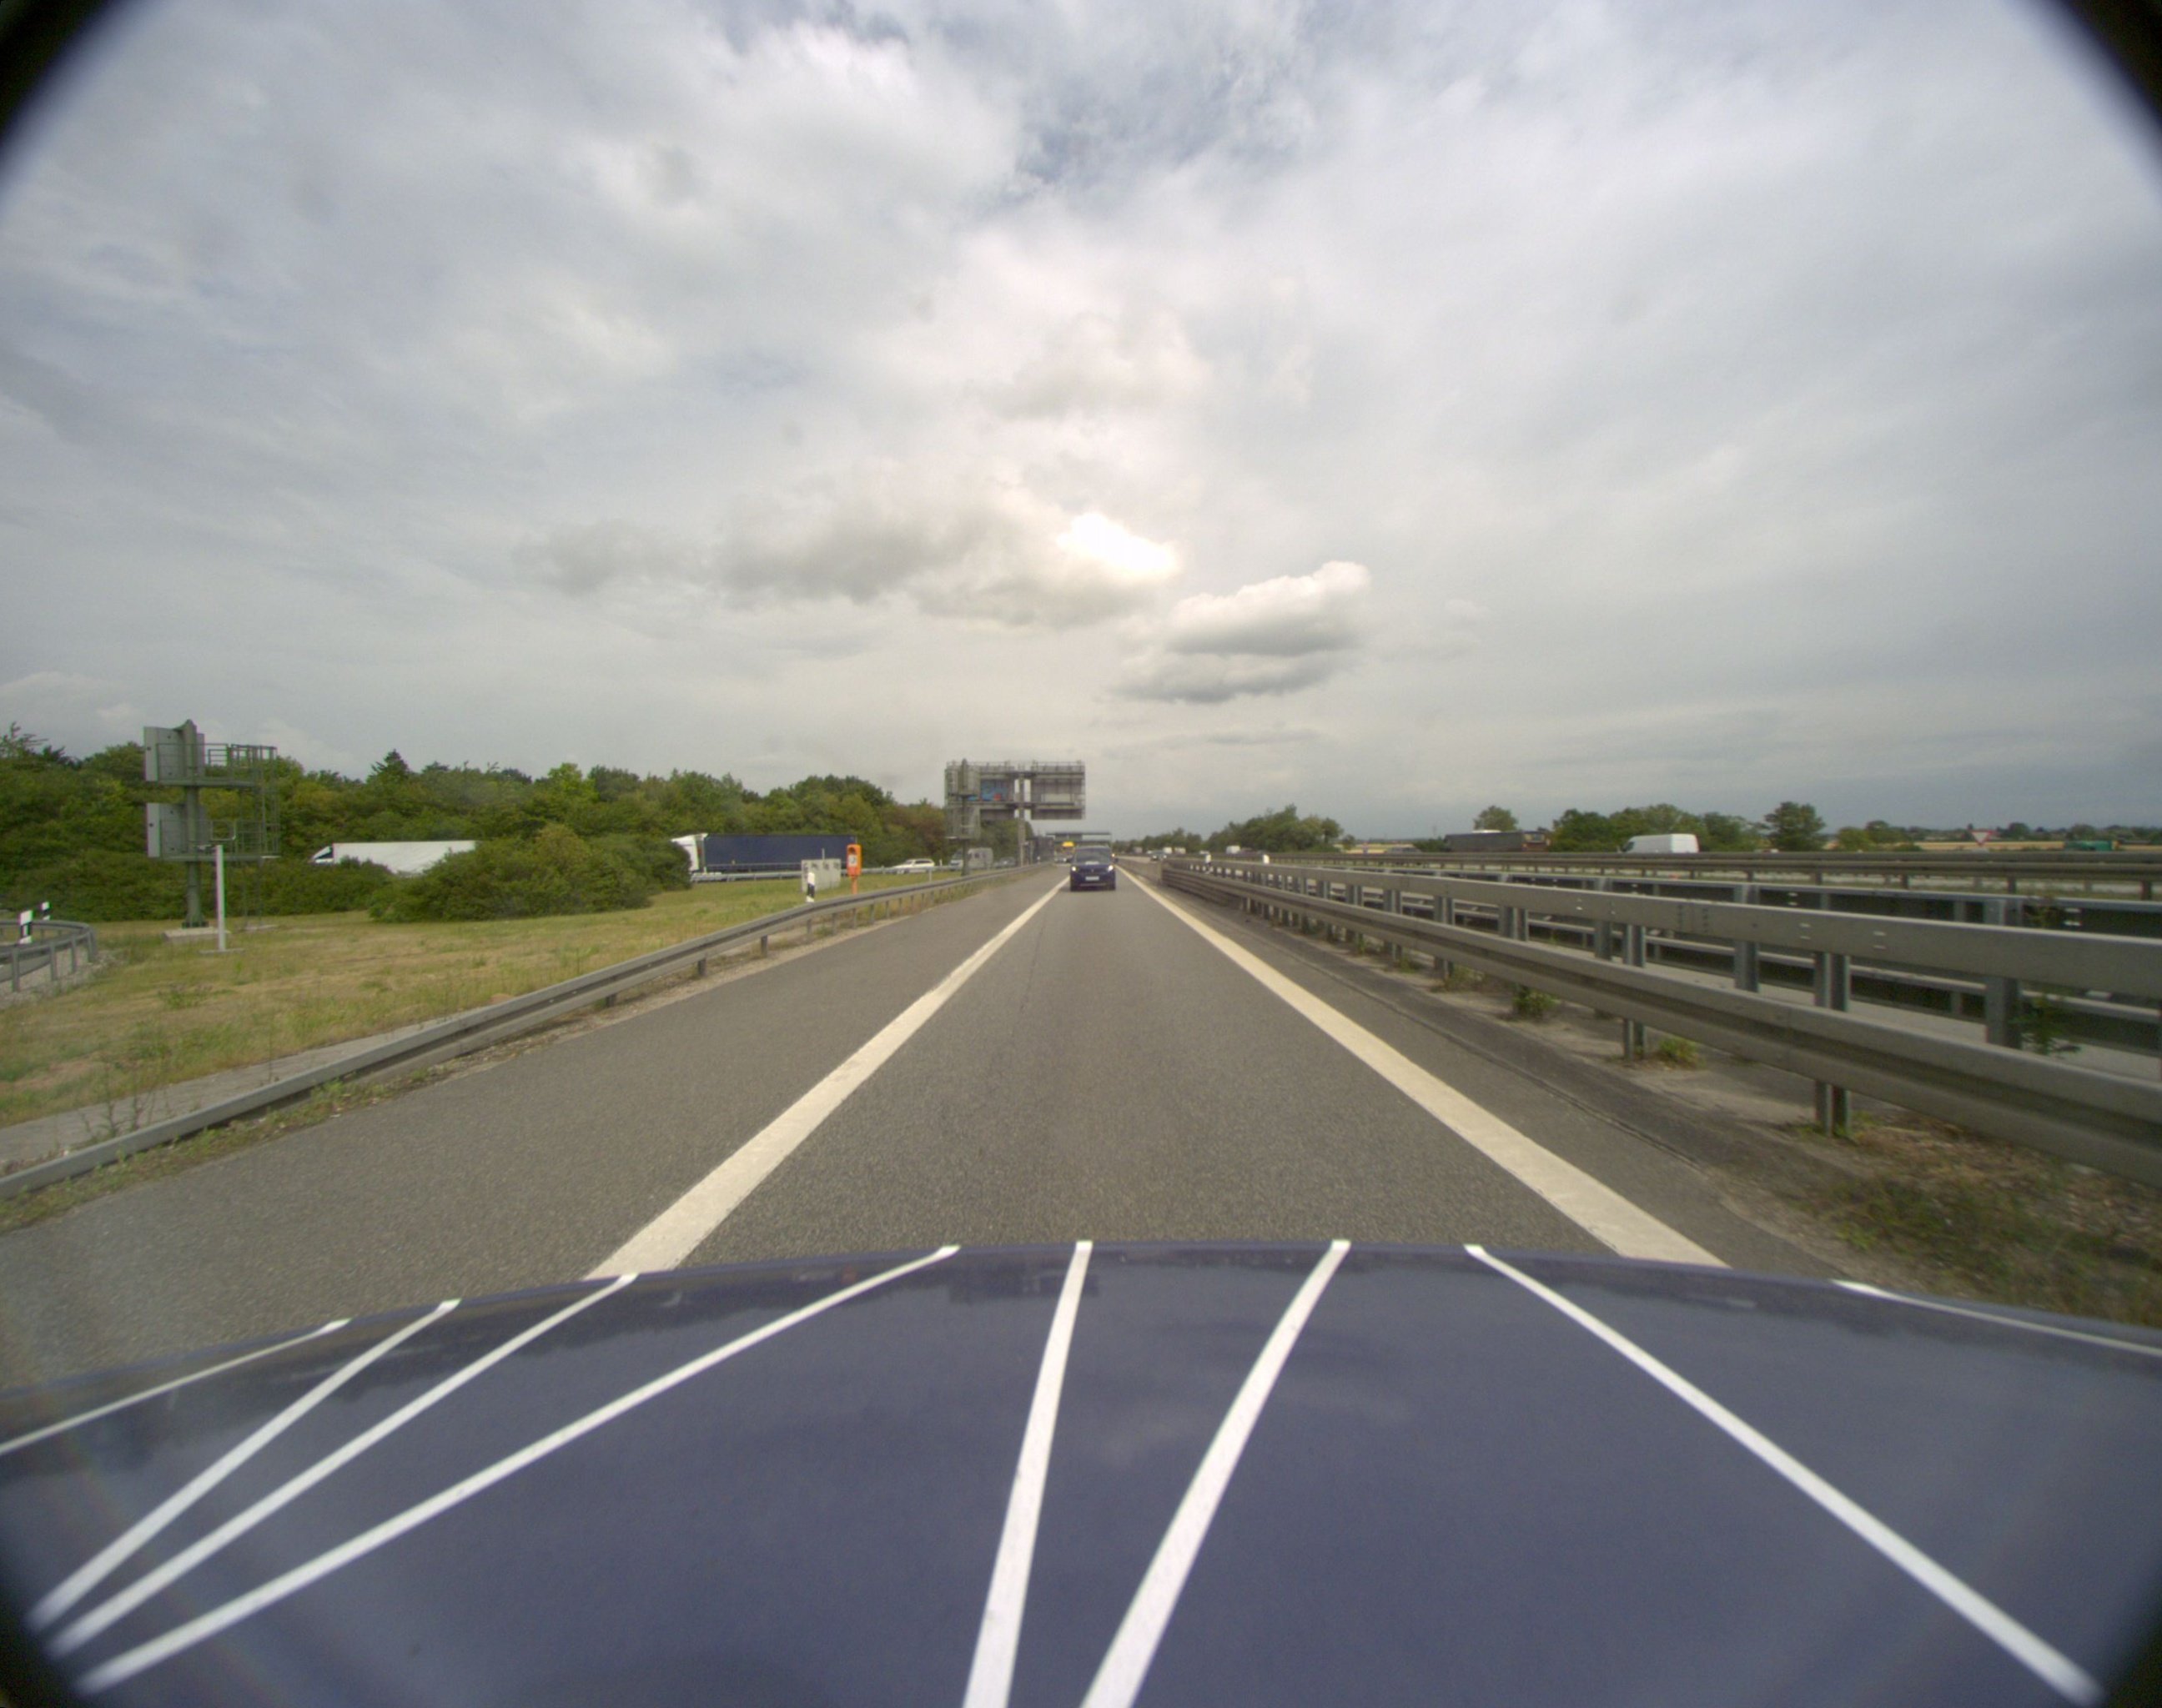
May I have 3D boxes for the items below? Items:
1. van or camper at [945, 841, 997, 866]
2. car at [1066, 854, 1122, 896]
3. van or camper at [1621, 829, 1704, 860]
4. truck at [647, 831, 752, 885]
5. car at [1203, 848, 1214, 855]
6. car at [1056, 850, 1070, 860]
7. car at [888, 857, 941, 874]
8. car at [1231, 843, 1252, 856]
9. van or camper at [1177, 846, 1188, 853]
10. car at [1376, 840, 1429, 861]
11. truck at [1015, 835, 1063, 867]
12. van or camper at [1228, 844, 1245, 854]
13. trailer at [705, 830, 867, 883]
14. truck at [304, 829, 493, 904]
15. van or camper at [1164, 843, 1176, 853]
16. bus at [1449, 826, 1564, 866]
[{"bbox_3d":[-11.820,-0.064,82.496,2.295,2.553,6.171,-1,1,28],"label":"van or camper"},{"bbox_3d":[0.434,0.757,29.453,1.866,1.434,3.999,-2,0,-2],"label":"car"},{"bbox_3d":[41.074,-0.675,53.866,1.999,2.002,4.882,-2,1,-2],"label":"van or camper"},{"bbox_3d":[-31.026,0.299,61.974,3.361,4.071,6.802,-1,1,44],"label":"truck"},{"bbox_3d":[26.108,-0.500,155.324,1.527,1.455,4.000,-2,1,1],"label":"car"},{"bbox_3d":[-2.737,0.197,114.806,1.866,1.434,3.999,-2,0,-2],"label":"car"},{"bbox_3d":[-16.441,1.088,75.241,2.207,1.492,4.796,-1,1,37],"label":"car"},{"bbox_3d":[22.548,-0.602,106.756,1.999,1.652,3.999,-2,1,-2],"label":"car"},{"bbox_3d":[31.814,-1.312,237.482,2.241,2.002,6.275,-2,0,-4],"label":"van or camper"},{"bbox_3d":[23.683,-0.257,56.189,1.999,1.460,4.139,-2,1,-2],"label":"car"},{"bbox_3d":[-5.434,-0.401,100.849,3.021,3.931,10.351,-2,1,16],"label":"truck"},{"bbox_3d":[34.578,-1.049,169.022,2.193,2.159,5.807,-2,0,-3],"label":"van or camper"},{"bbox_3d":[-25.782,0.124,67.348,3.332,4.169,13.057,-1,1,45],"label":"trailer"},{"bbox_3d":[-46.757,0.768,52.564,9.003,4.589,3.276,-3,1,-28],"label":"truck"},{"bbox_3d":[25.044,-1.755,214.139,2.193,2.604,6.903,-2,0,-2],"label":"van or camper"},{"bbox_3d":[40.830,-0.796,73.741,3.223,3.423,12.987,-2,1,-3],"label":"bus"}]
